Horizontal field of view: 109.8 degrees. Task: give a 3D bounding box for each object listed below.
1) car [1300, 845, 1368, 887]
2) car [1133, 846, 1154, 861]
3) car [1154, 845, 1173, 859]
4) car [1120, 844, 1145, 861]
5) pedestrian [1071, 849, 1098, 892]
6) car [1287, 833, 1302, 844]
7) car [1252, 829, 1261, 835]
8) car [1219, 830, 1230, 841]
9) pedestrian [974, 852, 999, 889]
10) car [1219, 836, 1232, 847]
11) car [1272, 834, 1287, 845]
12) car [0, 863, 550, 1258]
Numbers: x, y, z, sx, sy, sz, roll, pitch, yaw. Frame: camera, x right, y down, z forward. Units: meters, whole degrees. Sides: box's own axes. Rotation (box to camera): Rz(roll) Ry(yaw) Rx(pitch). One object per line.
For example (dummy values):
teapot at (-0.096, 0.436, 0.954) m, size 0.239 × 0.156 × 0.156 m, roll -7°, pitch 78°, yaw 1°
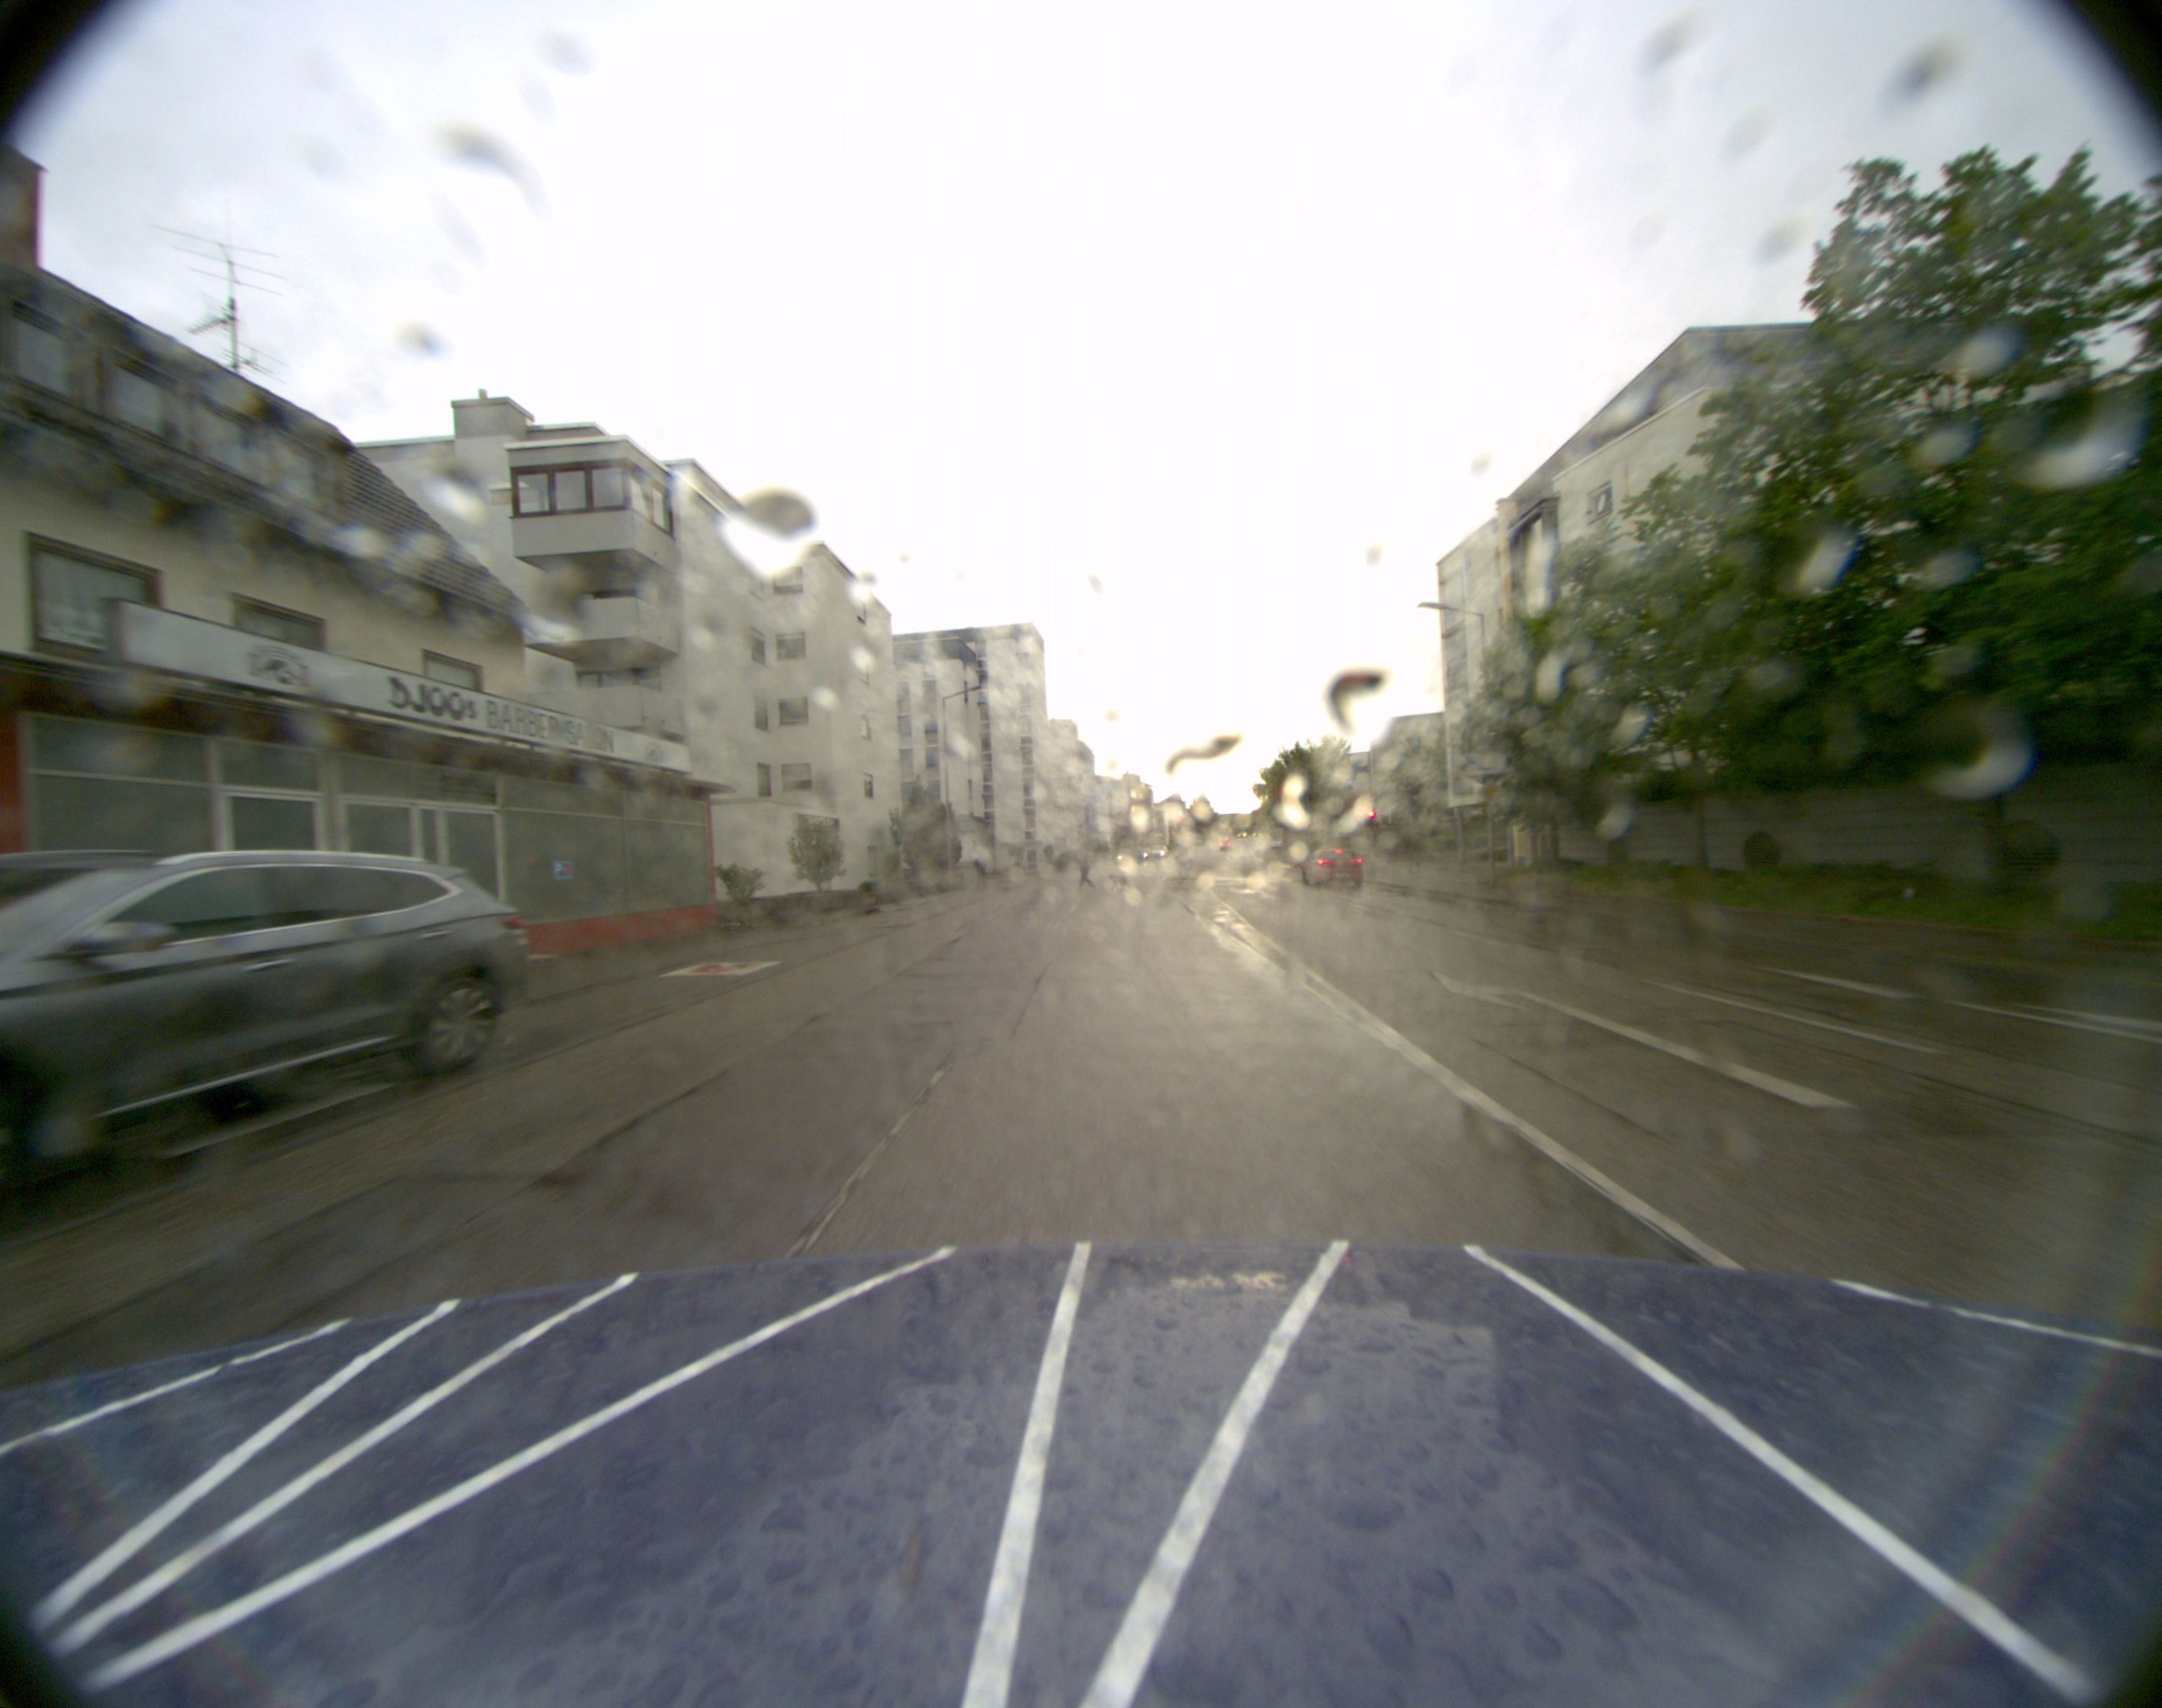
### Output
car at (9.923, 0.413, 30.048) m, size 1.779 × 1.498 × 4.105 m, roll 0°, pitch 1°, yaw 7°
car at (6.912, -0.095, 83.768) m, size 1.752 × 1.470 × 4.002 m, roll -4°, pitch 1°, yaw 11°
car at (10.479, -0.277, 96.377) m, size 1.897 × 1.535 × 4.024 m, roll -4°, pitch 1°, yaw 13°
car at (5.109, -0.151, 74.951) m, size 1.739 × 1.477 × 4.153 m, roll -3°, pitch 1°, yaw 14°
pedestrian at (0.156, 0.665, 31.556) m, size 0.667 × 1.692 × 0.948 m, roll -3°, pitch 1°, yaw 24°
car at (31.974, -2.334, 113.650) m, size 1.734 × 1.470 × 4.026 m, roll -4°, pitch 1°, yaw 21°
car at (45.203, -5.664, 195.757) m, size 1.827 × 1.677 × 4.004 m, roll -2°, pitch 1°, yaw 16°
car at (31.573, -4.071, 167.192) m, size 1.997 × 2.002 × 4.003 m, roll -7°, pitch 0°, yaw 16°
pedestrian at (-4.196, 0.711, 33.696) m, size 0.754 × 1.559 × 0.993 m, roll -5°, pitch 1°, yaw 5°
car at (23.189, -2.005, 121.681) m, size 1.691 × 1.546 × 3.909 m, roll -5°, pitch 1°, yaw 13°
car at (29.767, -2.148, 113.977) m, size 1.734 × 1.470 × 4.026 m, roll -4°, pitch 1°, yaw 21°
car at (-5.657, 0.943, 4.288) m, size 1.879 × 1.633 × 4.791 m, roll -1°, pitch 1°, yaw 0°
